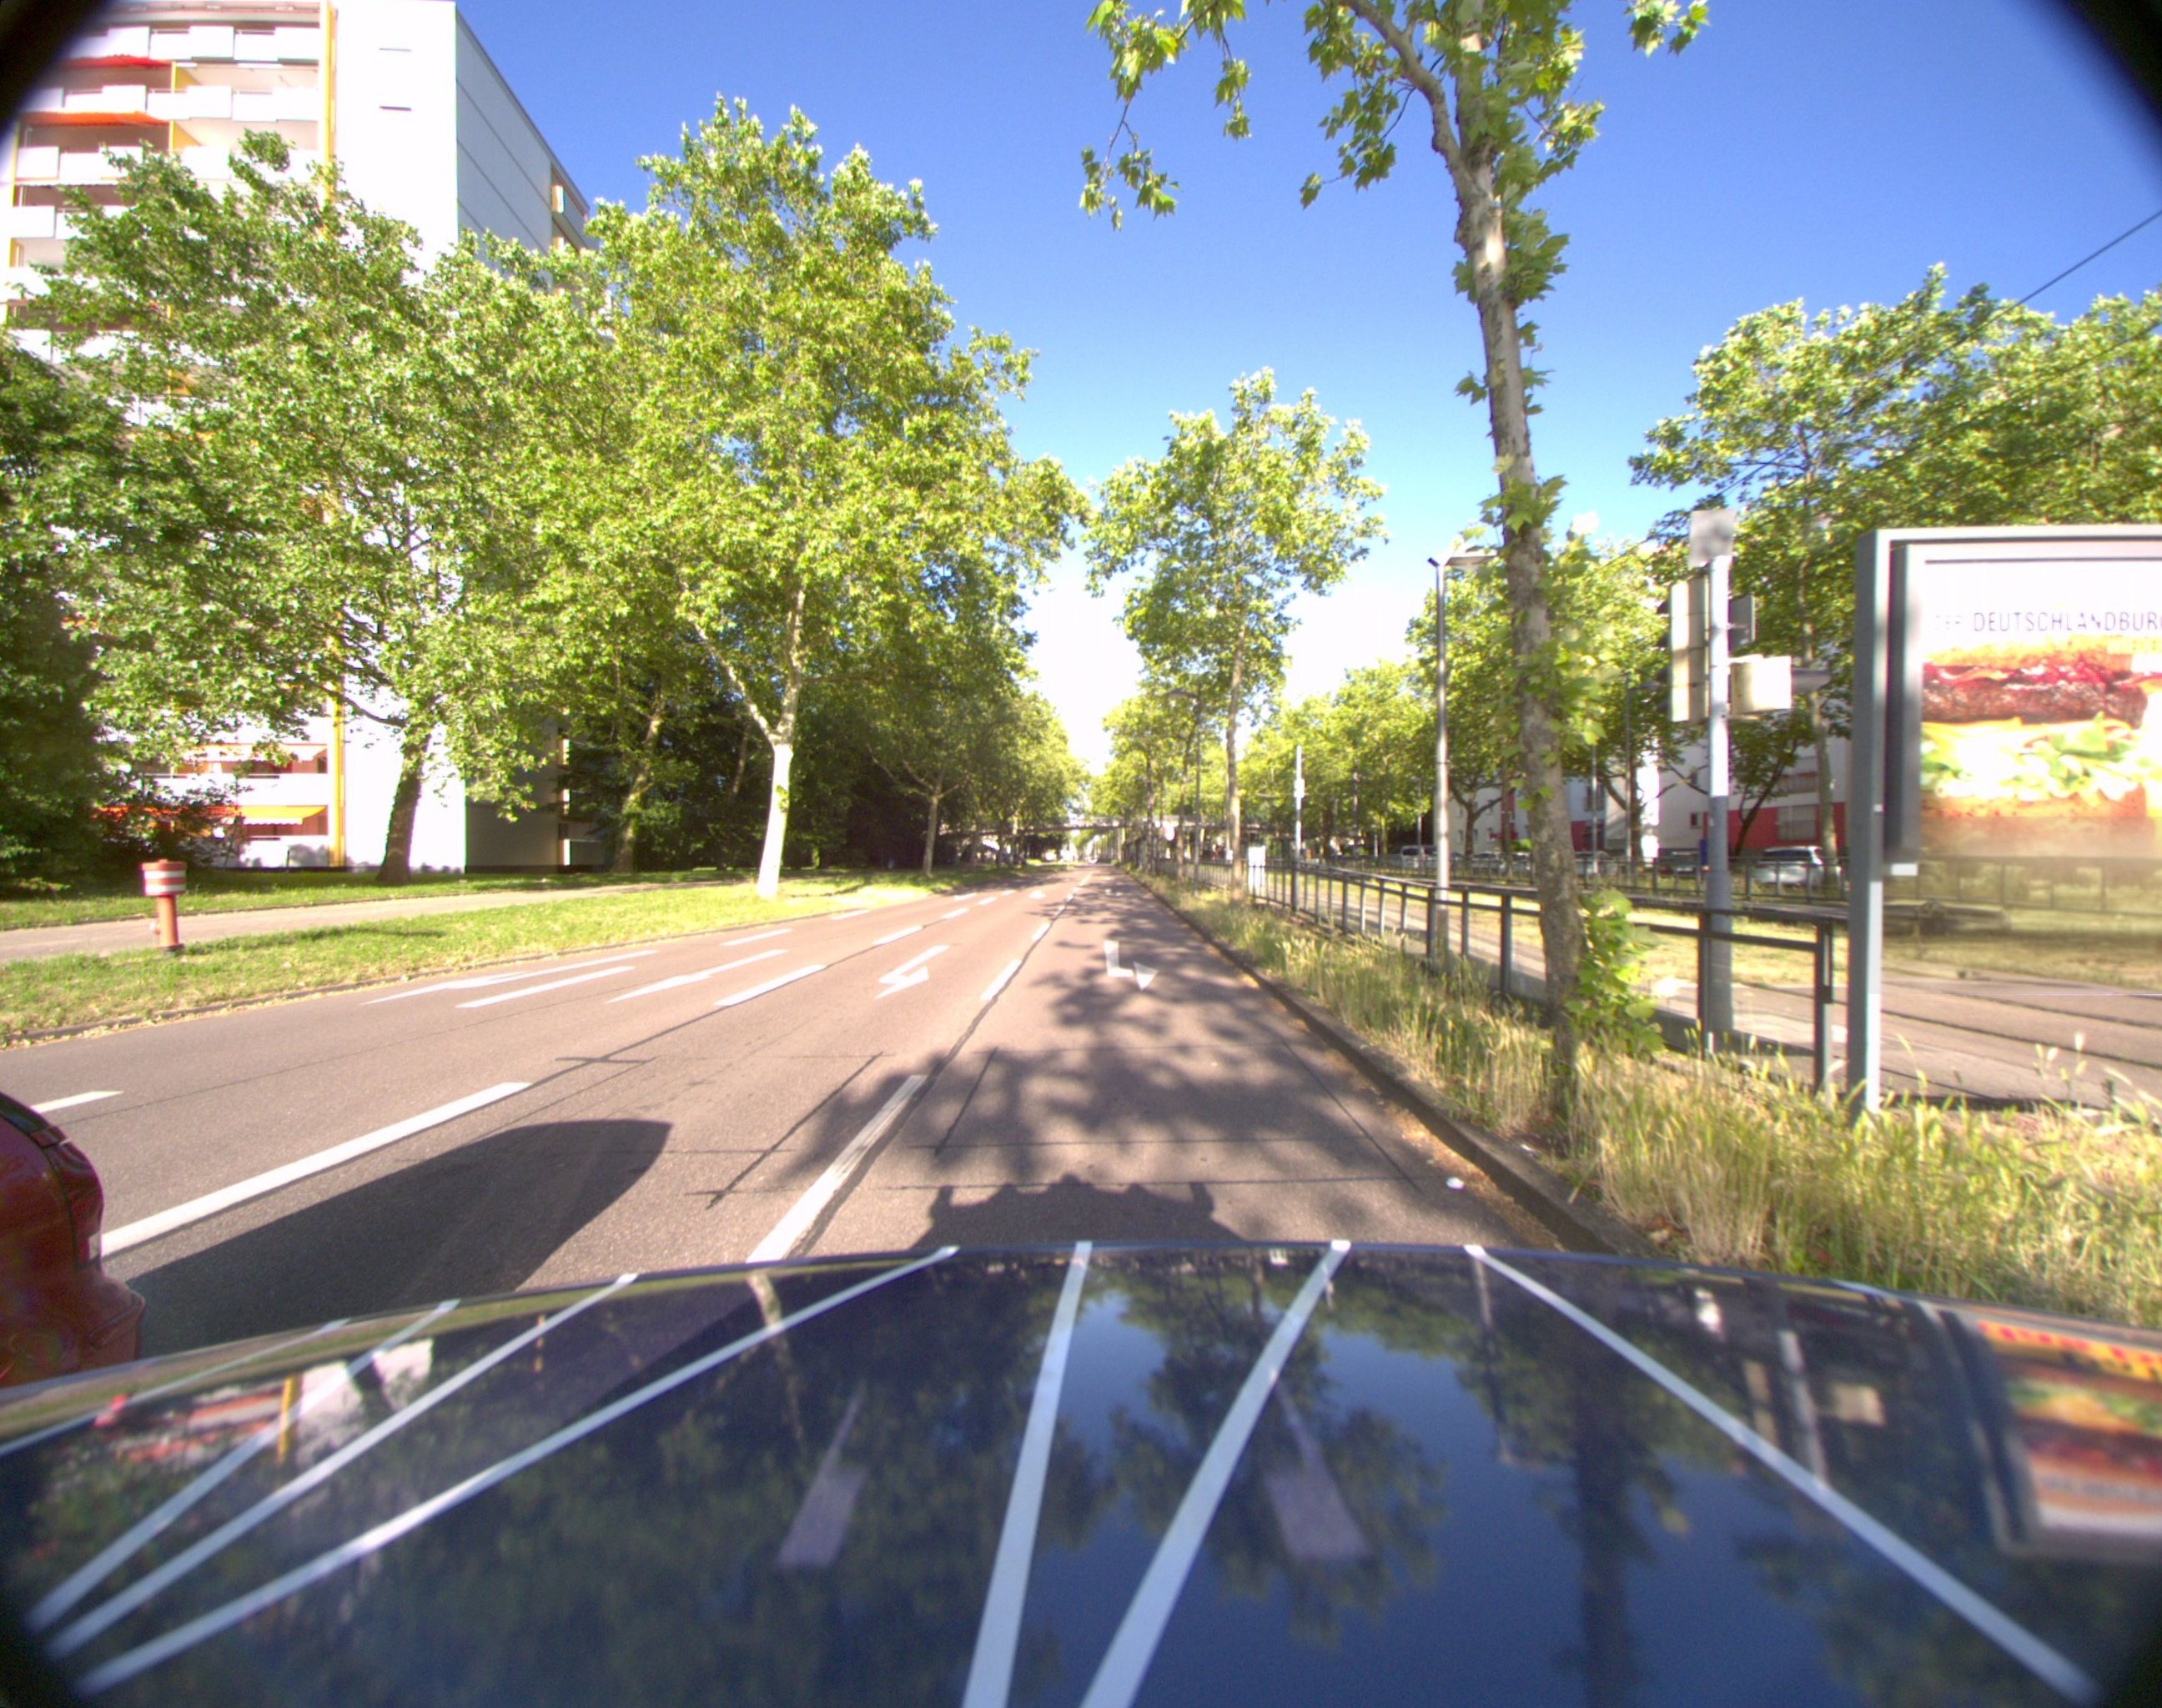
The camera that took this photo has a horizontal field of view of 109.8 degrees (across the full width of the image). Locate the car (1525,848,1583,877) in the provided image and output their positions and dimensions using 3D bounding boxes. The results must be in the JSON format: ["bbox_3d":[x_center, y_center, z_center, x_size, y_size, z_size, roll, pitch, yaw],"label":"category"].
[{"bbox_3d":[25.862,0.441,41.475,3.811,1.433,1.652,-2,0,-42],"label":"car"}]

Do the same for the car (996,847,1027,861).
[{"bbox_3d":[-10.931,0.003,118.853,4.719,1.924,1.906,-2,0,-7],"label":"car"}]

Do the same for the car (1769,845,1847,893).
[{"bbox_3d":[25.357,0.488,26.471,3.811,1.501,1.652,-2,0,-42],"label":"car"}]

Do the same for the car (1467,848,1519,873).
[{"bbox_3d":[25.850,0.396,47.675,3.811,1.433,1.652,-2,0,-42],"label":"car"}]

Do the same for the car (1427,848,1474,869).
[{"bbox_3d":[26.301,0.308,54.028,3.811,1.433,1.652,-2,0,-42],"label":"car"}]

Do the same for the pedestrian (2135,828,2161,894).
[{"bbox_3d":[28.846,0.184,20.133,0.764,1.723,0.786,-2,1,-1],"label":"pedestrian"}]

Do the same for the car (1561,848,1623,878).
[{"bbox_3d":[25.382,0.446,37.694,3.811,1.348,1.652,-2,0,-42],"label":"car"}]

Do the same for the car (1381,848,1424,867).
[{"bbox_3d":[25.728,0.267,60.748,3.811,1.433,1.652,-2,0,-42],"label":"car"}]

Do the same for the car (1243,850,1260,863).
[{"bbox_3d":[20.724,0.310,92.537,1.579,1.548,2.817,-2,0,3],"label":"car"}]

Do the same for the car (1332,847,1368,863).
[{"bbox_3d":[26.064,0.131,73.561,3.811,1.433,1.652,-2,0,-42],"label":"car"}]

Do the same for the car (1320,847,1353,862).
[{"bbox_3d":[26.784,0.043,79.621,3.811,1.433,1.652,-2,0,-42],"label":"car"}]

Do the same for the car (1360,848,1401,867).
[{"bbox_3d":[24.942,0.270,63.205,3.811,1.433,1.652,-2,0,-42],"label":"car"}]

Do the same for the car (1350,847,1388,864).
[{"bbox_3d":[26.617,0.133,70.130,3.811,1.433,1.652,-2,0,-42],"label":"car"}]

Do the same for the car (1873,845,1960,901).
[{"bbox_3d":[25.244,0.523,22.962,3.811,1.501,1.652,-2,0,-42],"label":"car"}]

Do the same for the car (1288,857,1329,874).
[{"bbox_3d":[20.904,1.051,70.036,1.657,1.501,4.638,-2,0,-11],"label":"car"}]

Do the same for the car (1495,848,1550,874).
[{"bbox_3d":[26.098,0.405,44.860,3.811,1.433,1.652,-2,0,-42],"label":"car"}]

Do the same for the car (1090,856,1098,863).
[{"bbox_3d":[2.625,1.169,157.143,1.580,1.395,3.638,-2,0,0],"label":"car"}]

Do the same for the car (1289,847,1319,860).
[{"bbox_3d":[26.437,-0.050,89.971,3.811,1.433,1.652,-2,0,-42],"label":"car"}]

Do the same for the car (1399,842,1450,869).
[{"bbox_3d":[25.817,0.087,57.026,4.330,1.863,1.836,-2,0,-42],"label":"car"}]
